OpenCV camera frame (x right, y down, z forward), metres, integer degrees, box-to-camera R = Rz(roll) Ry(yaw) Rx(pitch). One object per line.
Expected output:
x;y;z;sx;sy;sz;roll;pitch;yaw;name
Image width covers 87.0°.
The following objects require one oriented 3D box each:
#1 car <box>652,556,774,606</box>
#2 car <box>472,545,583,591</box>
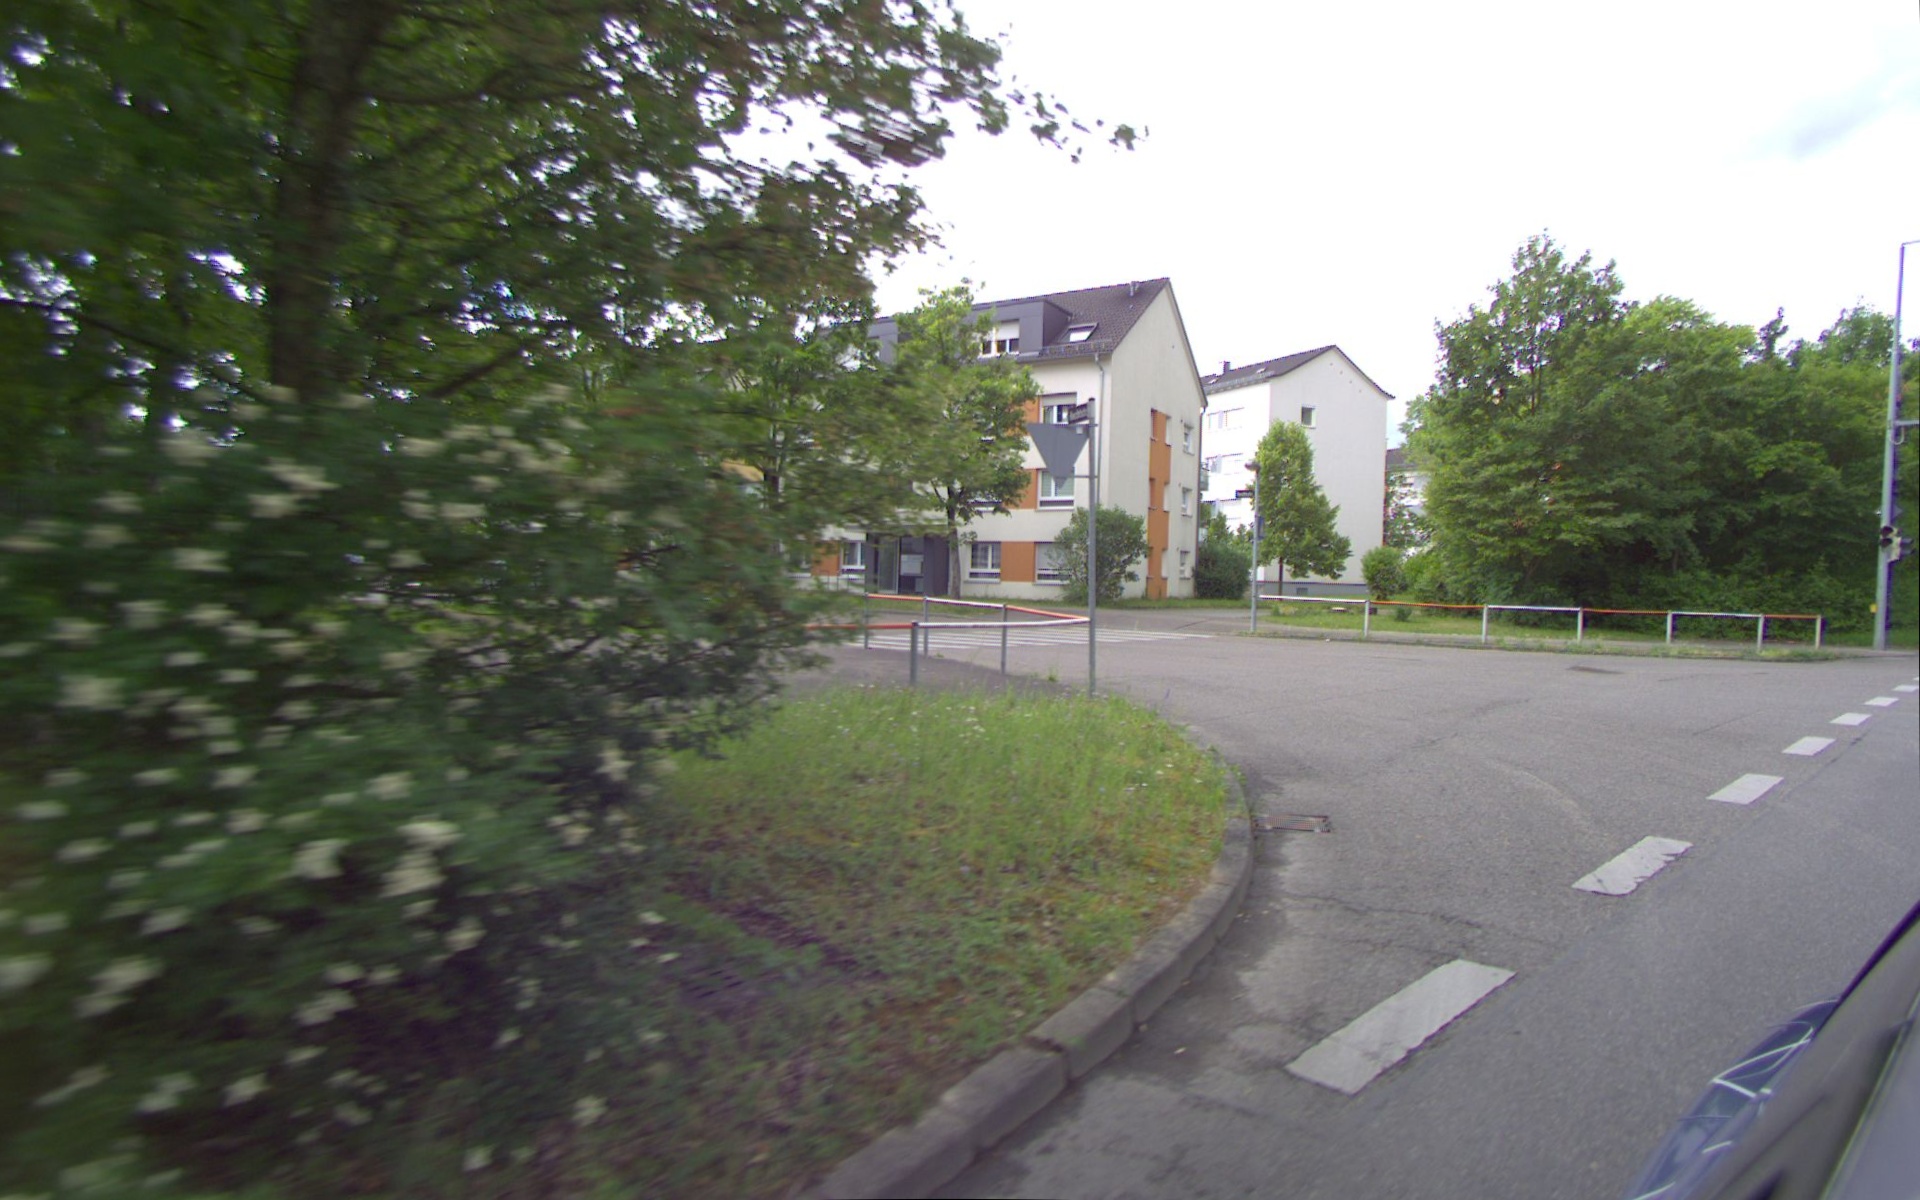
-7.961;-0.638;32.519;3.741;1.482;1.621;2;2;30;car
-16.155;-1.208;37.765;3.966;1.593;1.774;2;2;30;car
